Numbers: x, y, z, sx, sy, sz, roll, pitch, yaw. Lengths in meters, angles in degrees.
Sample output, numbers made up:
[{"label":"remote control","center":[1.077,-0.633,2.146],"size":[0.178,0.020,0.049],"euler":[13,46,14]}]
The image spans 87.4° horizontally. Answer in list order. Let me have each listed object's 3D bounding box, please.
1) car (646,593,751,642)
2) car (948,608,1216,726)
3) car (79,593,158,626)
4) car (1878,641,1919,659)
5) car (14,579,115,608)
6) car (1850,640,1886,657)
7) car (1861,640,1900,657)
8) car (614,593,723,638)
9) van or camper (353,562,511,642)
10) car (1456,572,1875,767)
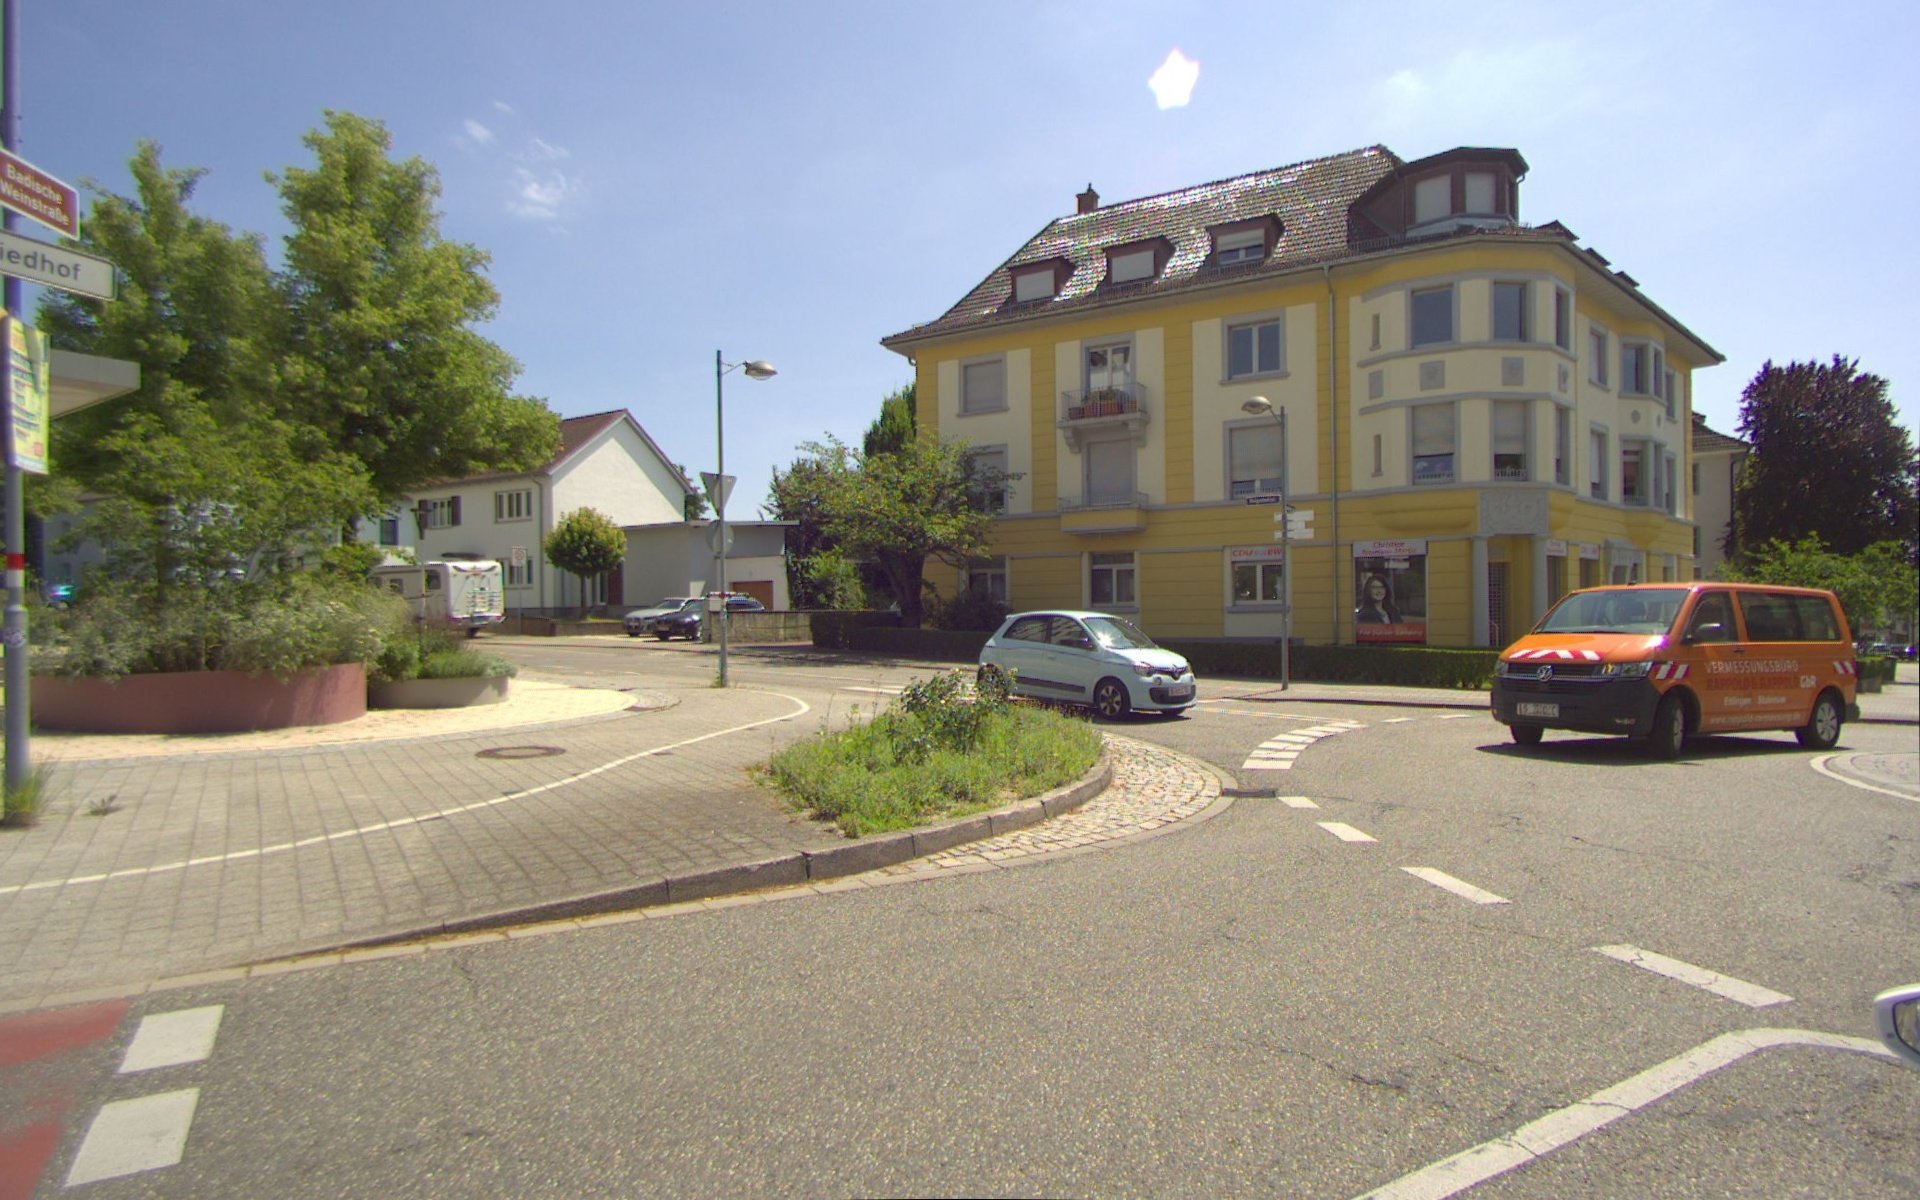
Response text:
[{"label":"car","center":[-9.141,0.625,35.457],"size":[1.721,1.607,3.994],"euler":[1,-1,17]},{"label":"car","center":[1.815,0.945,15.951],"size":[1.649,1.545,4.108],"euler":[0,1,-44]},{"label":"car","center":[-40.426,0.460,48.236],"size":[3.922,1.525,1.753],"euler":[1,-1,31]},{"label":"car","center":[83.733,4.426,89.584],"size":[1.966,1.529,4.407],"euler":[1,-1,33]},{"label":"car","center":[-53.768,-0.379,60.397],"size":[1.782,1.630,4.118],"euler":[1,-1,24]},{"label":"car","center":[90.057,4.784,99.691],"size":[1.966,1.529,4.407],"euler":[1,-1,33]},{"label":"car","center":[86.876,4.556,94.867],"size":[1.966,1.529,4.407],"euler":[1,-1,33]},{"label":"car","center":[-11.023,0.597,38.266],"size":[1.724,1.607,3.988],"euler":[1,-1,26]},{"label":"van or camper","center":[-19.062,-0.007,36.195],"size":[5.780,2.674,2.270],"euler":[1,2,30]},{"label":"car","center":[8.587,0.721,12.178],"size":[4.951,1.985,1.938],"euler":[0,0,-25]}]
